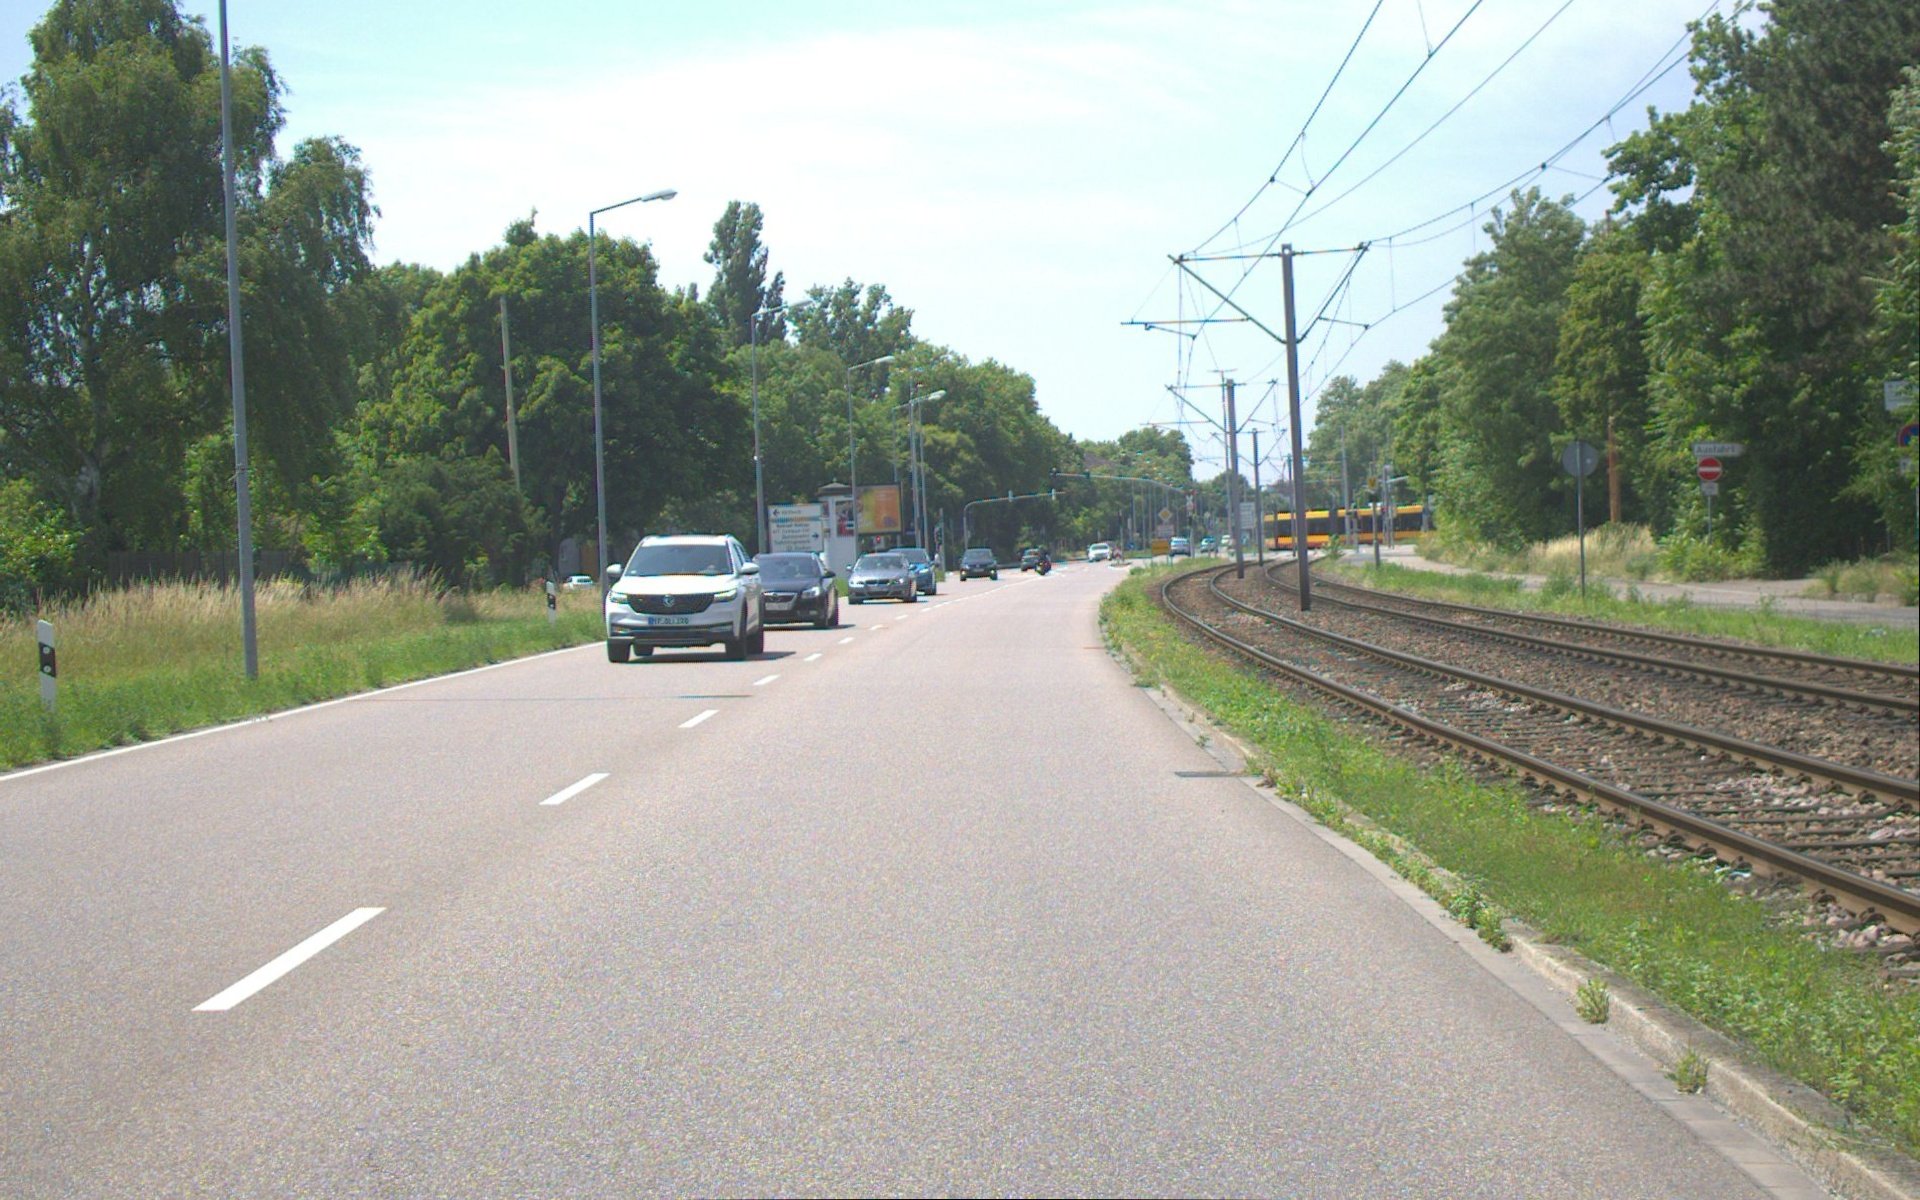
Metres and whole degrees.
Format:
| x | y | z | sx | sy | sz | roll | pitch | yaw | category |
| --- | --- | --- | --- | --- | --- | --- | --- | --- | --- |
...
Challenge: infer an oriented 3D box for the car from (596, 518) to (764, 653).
| x | y | z | sx | sy | sz | roll | pitch | yaw | category |
| --- | --- | --- | --- | --- | --- | --- | --- | --- | --- |
| -3.942 | -0.220 | 49.118 | 1.935 | 1.790 | 4.712 | -1 | 1 | 1 | car |

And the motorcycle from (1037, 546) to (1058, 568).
| x | y | z | sx | sy | sz | roll | pitch | yaw | category |
| --- | --- | --- | --- | --- | --- | --- | --- | --- | --- |
| 4.475 | -2.192 | 175.720 | 0.970 | 1.113 | 2.732 | -1 | 1 | 2 | motorcycle |

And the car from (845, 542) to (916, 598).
| x | y | z | sx | sy | sz | roll | pitch | yaw | category |
| --- | --- | --- | --- | --- | --- | --- | --- | --- | --- |
| -2.197 | -0.846 | 96.299 | 1.817 | 1.488 | 4.363 | -1 | 1 | 1 | car |

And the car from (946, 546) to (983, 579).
| x | y | z | sx | sy | sz | roll | pitch | yaw | category |
| --- | --- | --- | --- | --- | --- | --- | --- | --- | --- |
| 0.216 | -1.729 | 157.961 | 1.627 | 1.485 | 4.363 | -1 | 1 | 1 | car |

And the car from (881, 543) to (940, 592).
| x | y | z | sx | sy | sz | roll | pitch | yaw | category |
| --- | --- | --- | --- | --- | --- | --- | --- | --- | --- |
| -1.604 | -1.076 | 112.715 | 1.817 | 1.532 | 4.363 | -1 | 1 | 1 | car |

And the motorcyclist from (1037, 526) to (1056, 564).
| x | y | z | sx | sy | sz | roll | pitch | yaw | category |
| --- | --- | --- | --- | --- | --- | --- | --- | --- | --- |
| 4.418 | -2.816 | 175.728 | 0.891 | 1.898 | 1.015 | -1 | 0 | 2 | motorcyclist |

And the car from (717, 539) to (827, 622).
| x | y | z | sx | sy | sz | roll | pitch | yaw | category |
| --- | --- | --- | --- | --- | --- | --- | --- | --- | --- |
| -3.623 | -0.387 | 66.899 | 1.817 | 1.523 | 4.363 | -1 | 1 | 1 | car |

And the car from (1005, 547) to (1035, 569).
| x | y | z | sx | sy | sz | roll | pitch | yaw | category |
| --- | --- | --- | --- | --- | --- | --- | --- | --- | --- |
| 3.908 | -2.715 | 223.229 | 1.627 | 1.390 | 4.363 | -1 | 1 | 5 | car |
